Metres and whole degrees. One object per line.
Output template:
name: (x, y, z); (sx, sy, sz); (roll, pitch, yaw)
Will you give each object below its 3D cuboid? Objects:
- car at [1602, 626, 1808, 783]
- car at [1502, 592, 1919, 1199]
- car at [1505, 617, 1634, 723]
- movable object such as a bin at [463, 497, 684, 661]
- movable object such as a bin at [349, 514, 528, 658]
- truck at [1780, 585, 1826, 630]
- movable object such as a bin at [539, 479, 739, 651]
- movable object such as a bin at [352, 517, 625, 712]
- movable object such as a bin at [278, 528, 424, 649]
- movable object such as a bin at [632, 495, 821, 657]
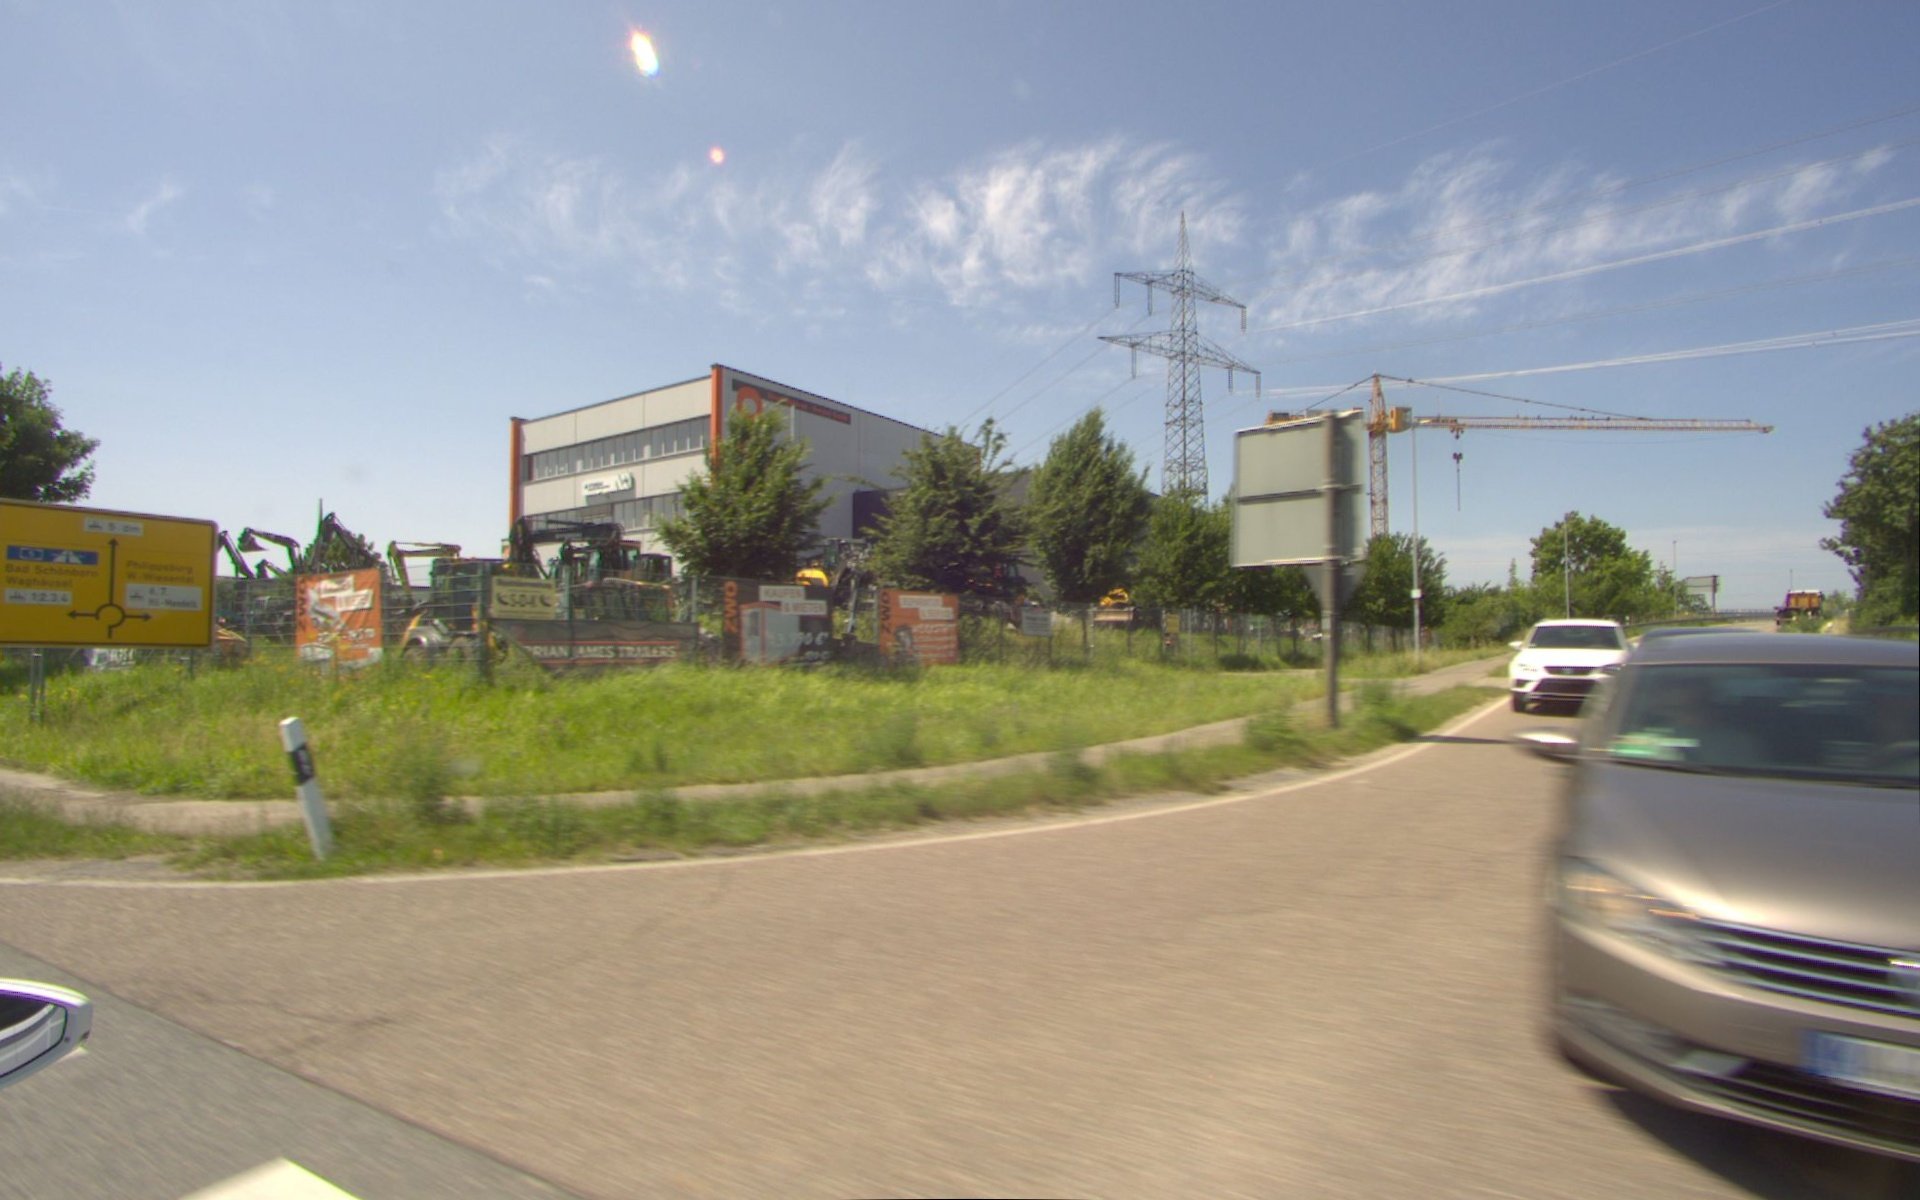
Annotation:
car: (8.371, 1.046, 11.440); (1.613, 1.459, 3.989); (-1, -2, 35)
car: (3.452, 0.822, 4.053); (1.887, 1.527, 4.503); (-1, -2, 33)
car: (11.000, 1.156, 17.946); (1.735, 1.642, 4.074); (1, -1, 35)
movable object such as a bin: (-14.088, -0.486, 37.019); (3.757, 5.207, 6.579); (-3, -6, 35)
movable object such as a bin: (-21.580, -0.346, 41.701); (3.180, 5.330, 5.706); (-3, -6, 35)
truck: (79.638, 0.795, 94.515); (3.010, 3.629, 8.369); (-4, -6, 41)
movable object such as a bin: (-10.975, -0.943, 34.765); (3.069, 5.164, 5.908); (-3, -6, 35)
movable object such as a bin: (-9.057, 0.448, 19.158); (5.031, 3.287, 2.321); (-3, -5, 32)
movable object such as a bin: (-28.618, -0.393, 47.215); (2.742, 5.113, 5.075); (-3, -6, 35)
movable object such as a bin: (-7.039, -0.512, 30.757); (2.798, 4.324, 5.075); (-3, -6, 35)
